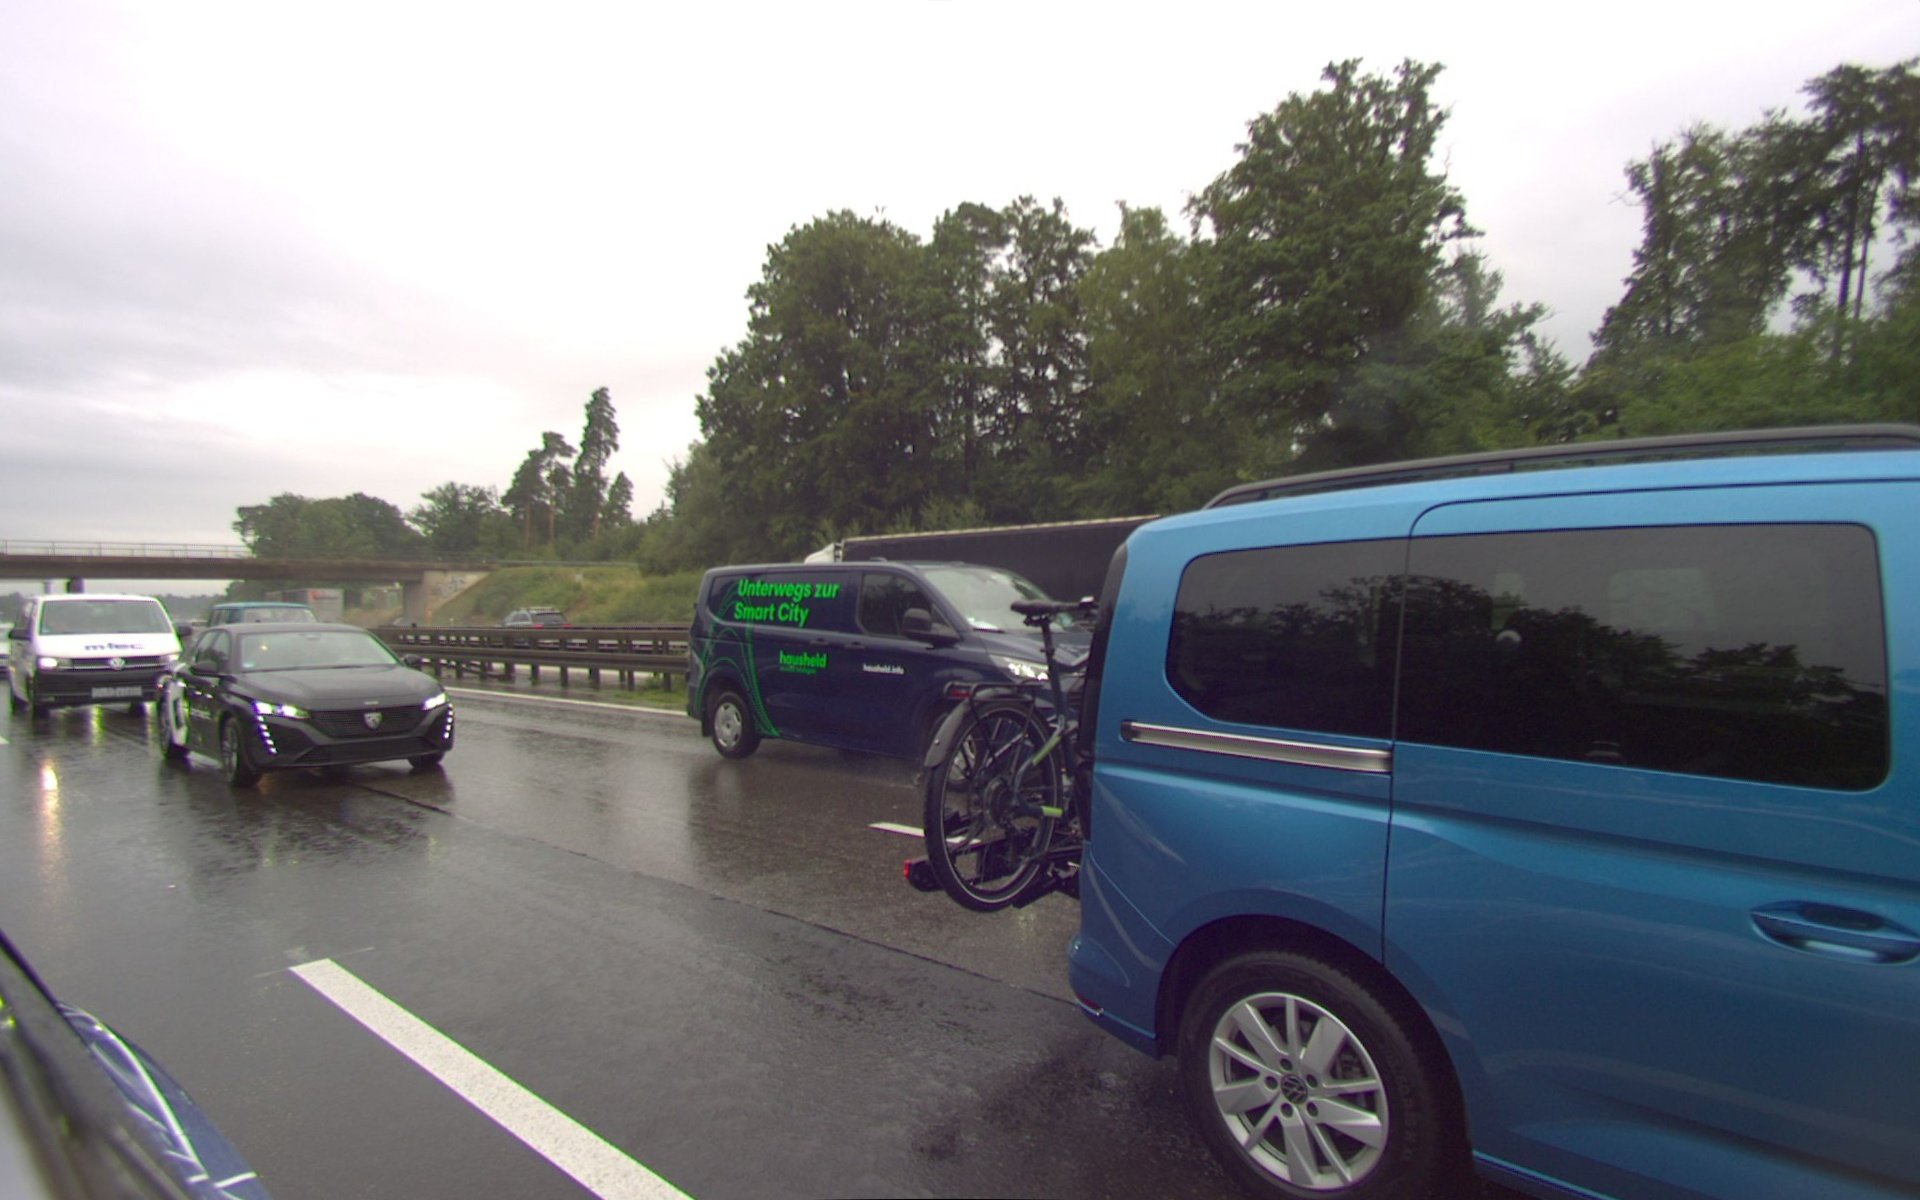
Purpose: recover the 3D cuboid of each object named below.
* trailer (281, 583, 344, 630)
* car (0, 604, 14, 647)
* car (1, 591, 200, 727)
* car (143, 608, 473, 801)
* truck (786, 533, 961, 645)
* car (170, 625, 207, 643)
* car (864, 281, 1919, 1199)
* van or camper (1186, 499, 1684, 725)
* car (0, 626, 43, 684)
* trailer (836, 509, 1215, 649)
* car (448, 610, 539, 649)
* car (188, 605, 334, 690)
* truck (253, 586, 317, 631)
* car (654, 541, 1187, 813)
[{"bbox_3d":[-55.856,0.586,87.168,9.010,3.847,2.652,-2,-1,45],"label":"trailer"},{"bbox_3d":[-37.491,1.014,38.426,4.767,1.572,1.968,-2,-1,43],"label":"car"},{"bbox_3d":[-14.109,0.879,16.507,4.768,1.894,1.968,-2,-1,44],"label":"car"},{"bbox_3d":[-6.786,0.878,10.307,4.467,1.516,1.825,-1,-1,44],"label":"car"},{"bbox_3d":[-3.312,-0.321,37.794,6.261,3.847,2.989,-2,-1,41],"label":"truck"},{"bbox_3d":[-67.758,2.967,88.861,4.330,1.509,1.817,-2,-1,42],"label":"car"},{"bbox_3d":[2.263,0.451,2.437,5.017,1.926,2.244,-2,-1,44],"label":"car"},{"bbox_3d":[6.159,0.177,13.697,5.699,2.441,2.204,-2,-1,42],"label":"van or camper"},{"bbox_3d":[-27.014,1.503,28.212,4.467,1.516,1.825,-1,-1,44],"label":"car"},{"bbox_3d":[1.524,-0.438,33.471,13.555,3.847,2.992,-2,-1,42],"label":"trailer"},{"bbox_3d":[-19.412,1.220,42.055,4.329,1.509,1.817,-2,-1,41],"label":"car"},{"bbox_3d":[-17.343,1.109,25.018,4.757,1.877,1.890,-1,0,42],"label":"car"},{"bbox_3d":[-62.605,0.821,93.755,10.026,3.961,2.675,-2,-1,43],"label":"truck"},{"bbox_3d":[-0.648,0.584,9.767,5.241,1.958,1.970,-1,0,42],"label":"car"}]
